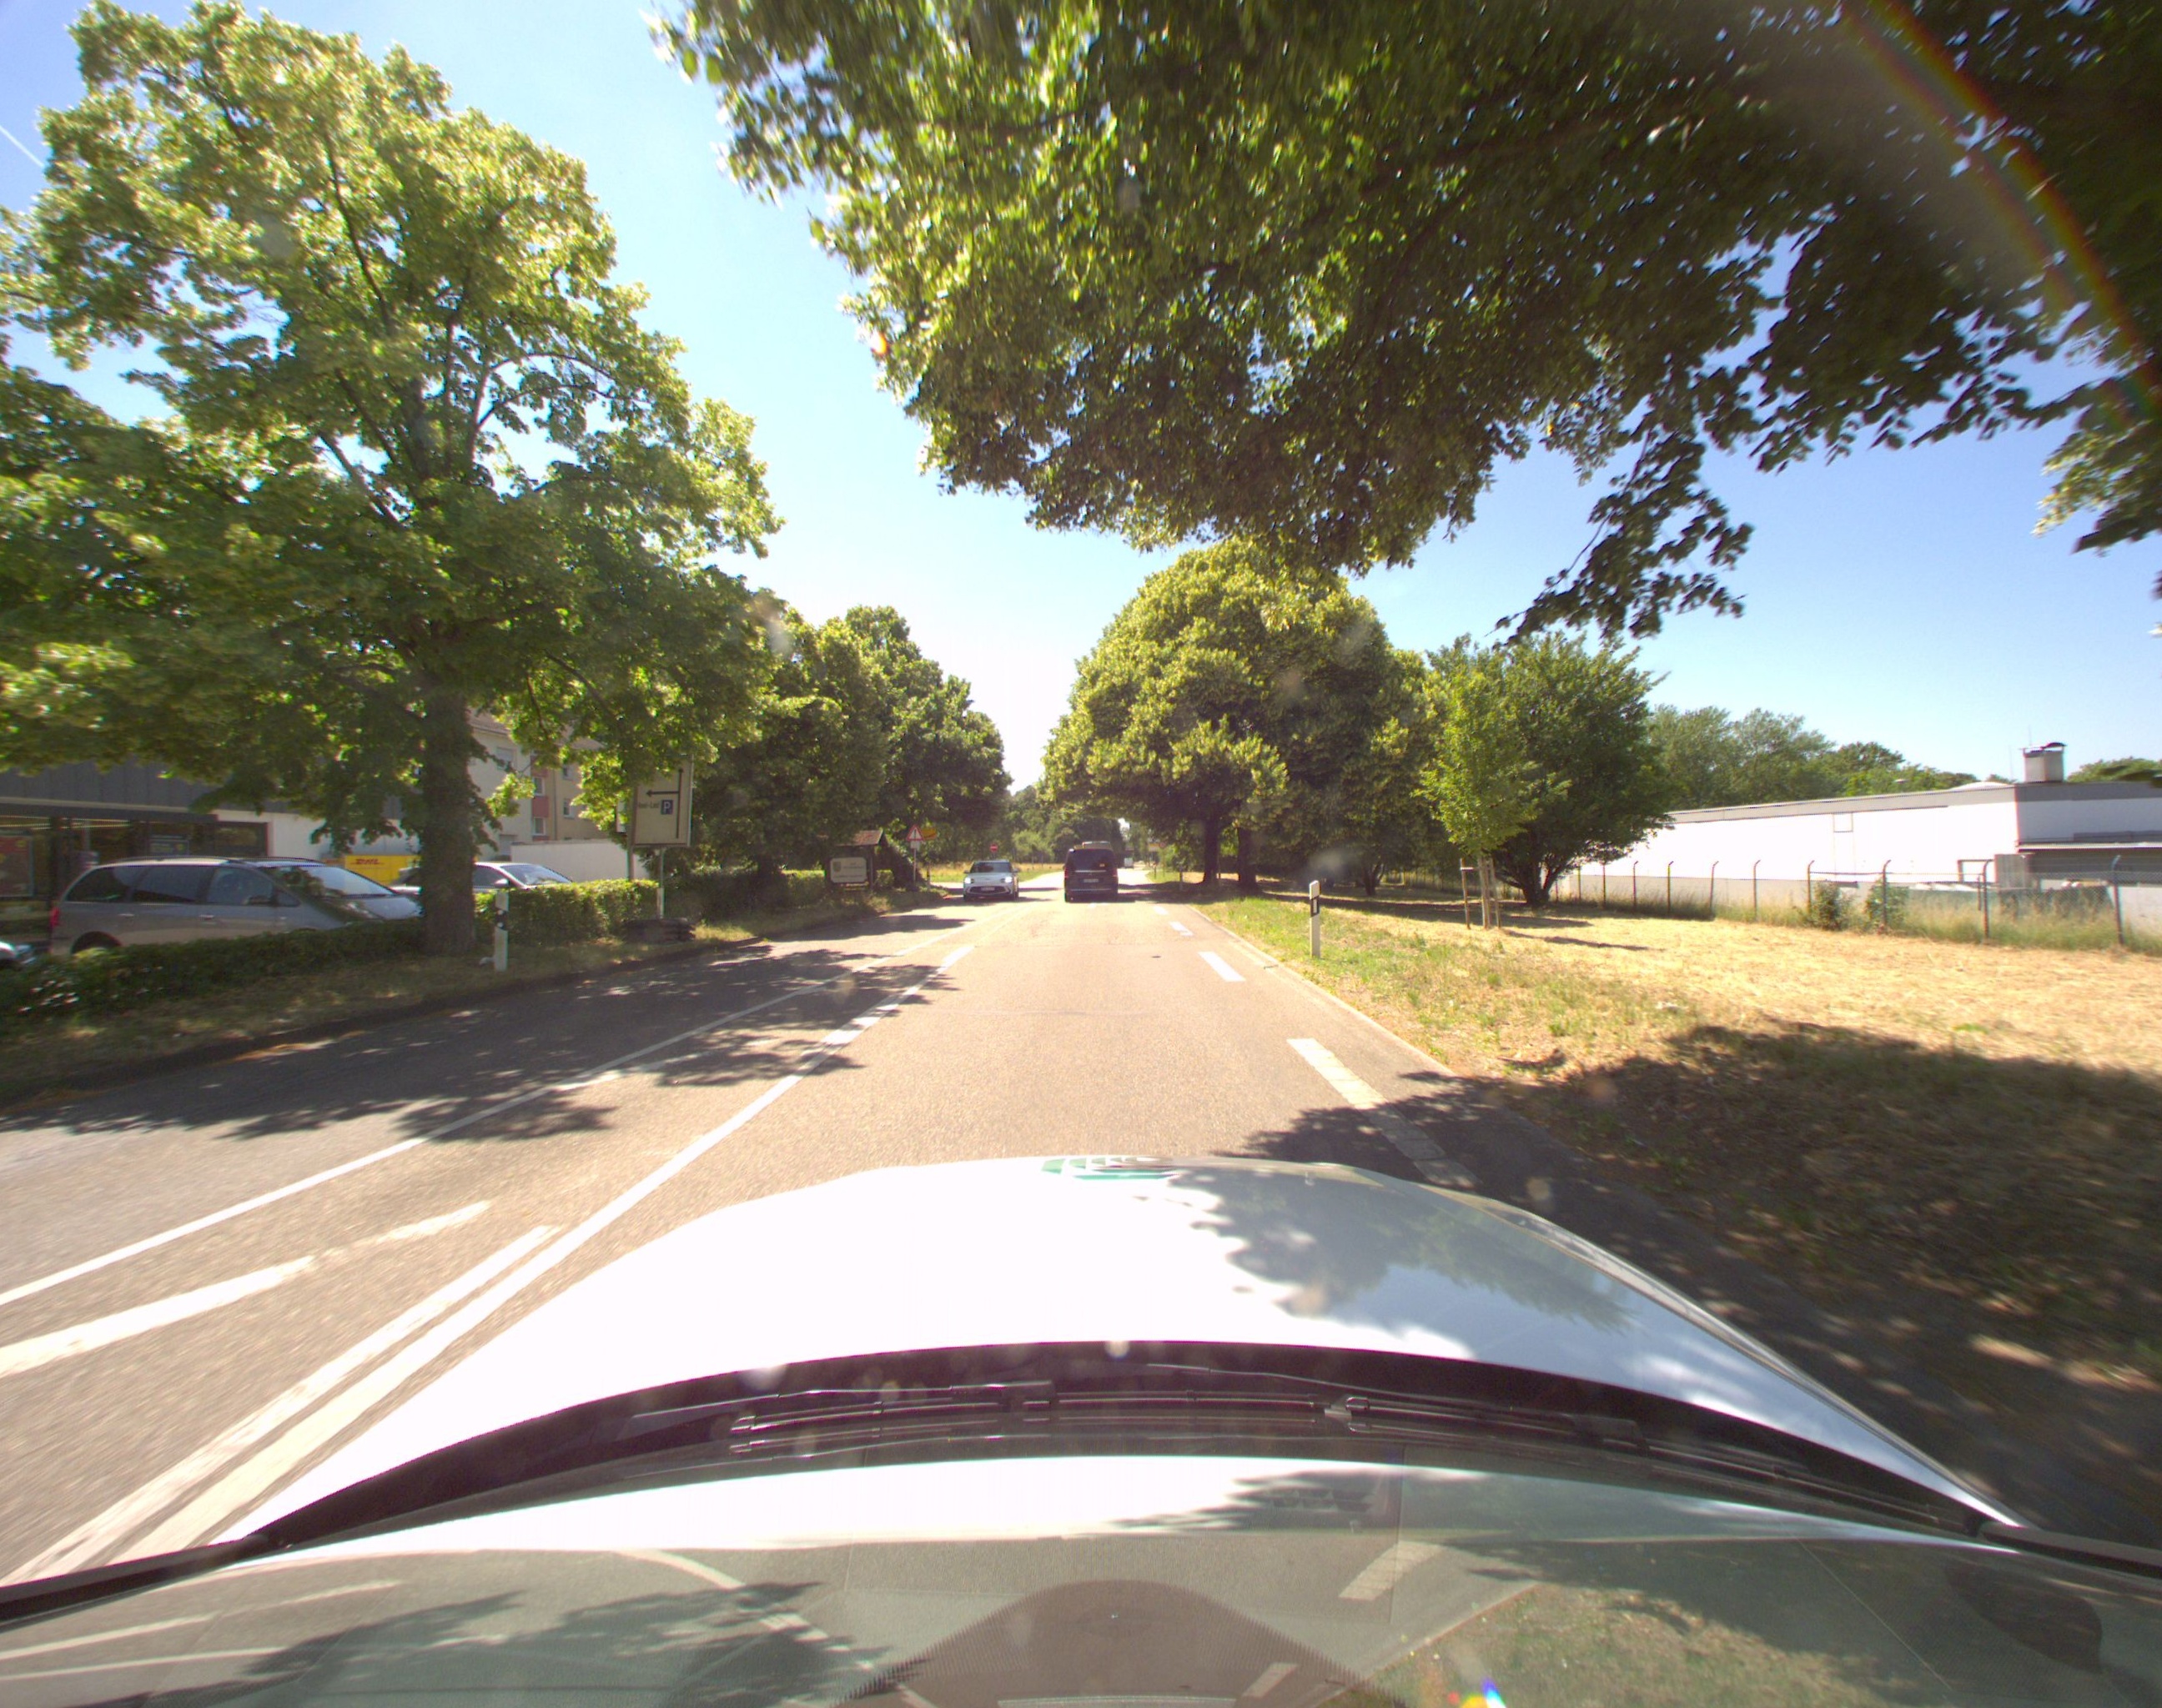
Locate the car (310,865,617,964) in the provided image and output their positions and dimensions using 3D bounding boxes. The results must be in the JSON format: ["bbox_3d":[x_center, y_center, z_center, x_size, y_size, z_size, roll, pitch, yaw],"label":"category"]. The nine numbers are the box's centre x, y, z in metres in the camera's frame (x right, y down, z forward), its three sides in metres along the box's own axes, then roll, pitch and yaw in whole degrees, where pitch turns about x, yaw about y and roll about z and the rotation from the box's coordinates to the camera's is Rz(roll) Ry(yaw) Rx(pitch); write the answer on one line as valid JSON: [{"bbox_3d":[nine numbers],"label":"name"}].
[{"bbox_3d":[-11.931,1.120,15.999,4.387,1.776,2.072,0,-1,-1],"label":"car"}]

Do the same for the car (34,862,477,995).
[{"bbox_3d":[-11.970,1.022,12.099,4.387,1.776,2.072,0,-1,-1],"label":"car"}]

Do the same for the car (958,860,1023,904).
[{"bbox_3d":[-3.455,1.052,31.885,2.088,1.588,4.473,0,-1,-1],"label":"car"}]

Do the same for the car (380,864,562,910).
[{"bbox_3d":[-22.331,1.186,29.987,4.970,1.571,2.239,0,-1,0],"label":"car"}]

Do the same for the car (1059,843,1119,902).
[{"bbox_3d":[0.342,0.637,29.520,1.986,1.953,5.006,0,-1,1],"label":"car"}]

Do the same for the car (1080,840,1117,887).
[{"bbox_3d":[1.044,0.558,48.871,2.071,2.702,4.667,0,-1,1],"label":"car"}]

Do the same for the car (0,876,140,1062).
[{"bbox_3d":[-11.702,1.032,7.233,4.387,1.620,1.894,0,-1,-1],"label":"car"}]

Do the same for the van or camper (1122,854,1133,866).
[{"bbox_3d":[11.289,1.497,199.127,2.622,2.929,5.208,0,-1,2],"label":"van or camper"}]
